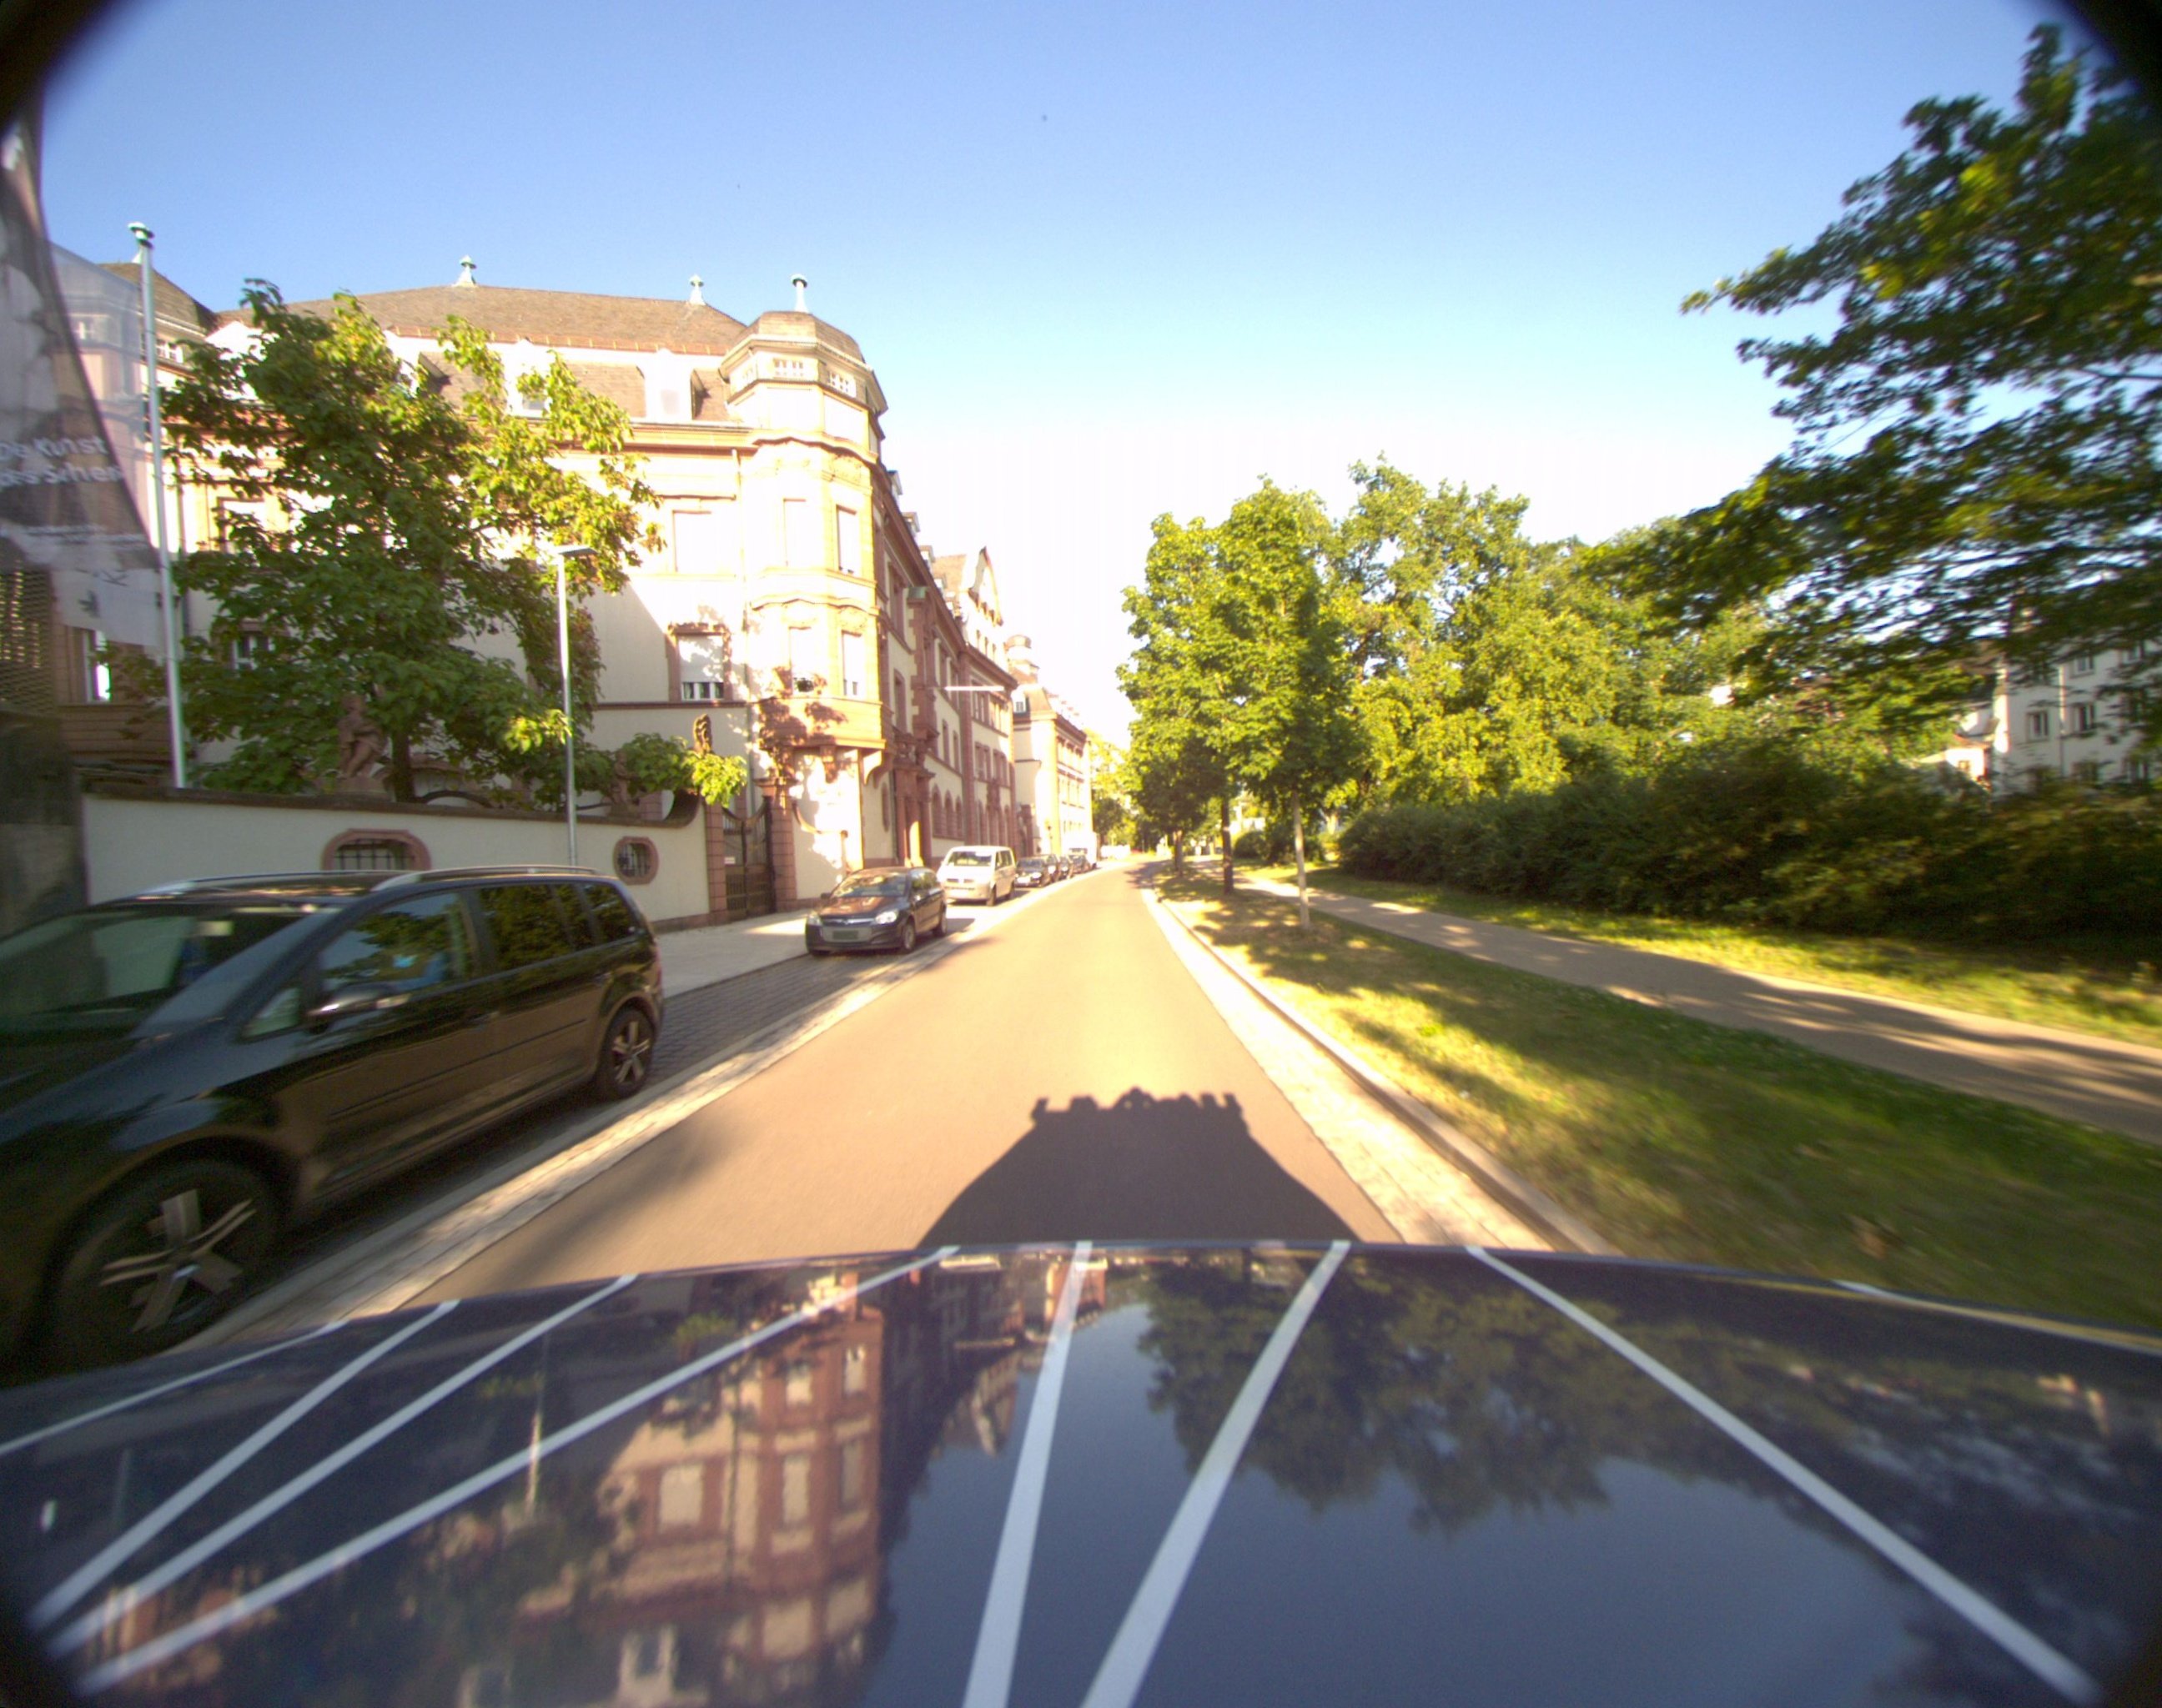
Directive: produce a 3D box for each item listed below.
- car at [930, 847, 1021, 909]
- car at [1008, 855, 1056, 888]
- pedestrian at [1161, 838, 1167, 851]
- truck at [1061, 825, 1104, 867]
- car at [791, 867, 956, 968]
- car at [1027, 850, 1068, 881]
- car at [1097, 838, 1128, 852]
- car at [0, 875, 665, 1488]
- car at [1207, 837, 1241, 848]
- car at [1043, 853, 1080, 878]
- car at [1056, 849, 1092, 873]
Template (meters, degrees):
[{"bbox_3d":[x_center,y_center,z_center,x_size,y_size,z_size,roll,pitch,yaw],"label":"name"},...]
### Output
[{"bbox_3d":[-3.550,0.730,26.586,1.997,1.955,4.851,0,1,6],"label":"car"},{"bbox_3d":[-2.341,0.808,37.104,1.682,1.395,4.200,-1,1,5],"label":"car"},{"bbox_3d":[12.439,-1.391,113.468,0.613,1.829,0.726,-3,-1,-6],"label":"pedestrian"},{"bbox_3d":[0.206,-0.666,61.585,2.629,3.103,6.089,-4,1,7],"label":"truck"},{"bbox_3d":[-3.697,1.060,14.436,1.752,1.458,4.477,-1,1,2],"label":"car"},{"bbox_3d":[-1.813,0.615,42.606,1.820,1.593,4.193,-1,1,3],"label":"car"},{"bbox_3d":[6.501,-1.825,157.683,5.910,2.685,2.218,-3,1,-10],"label":"car"},{"bbox_3d":[-4.010,1.013,3.669,1.728,1.659,4.113,-1,0,0],"label":"car"},{"bbox_3d":[22.493,-1.808,119.670,4.837,1.549,1.866,-3,0,-8],"label":"car"},{"bbox_3d":[-1.186,0.682,47.836,1.875,1.428,4.523,-1,1,4],"label":"car"},{"bbox_3d":[-0.467,0.464,55.594,1.772,1.522,4.574,-4,1,9],"label":"car"}]
